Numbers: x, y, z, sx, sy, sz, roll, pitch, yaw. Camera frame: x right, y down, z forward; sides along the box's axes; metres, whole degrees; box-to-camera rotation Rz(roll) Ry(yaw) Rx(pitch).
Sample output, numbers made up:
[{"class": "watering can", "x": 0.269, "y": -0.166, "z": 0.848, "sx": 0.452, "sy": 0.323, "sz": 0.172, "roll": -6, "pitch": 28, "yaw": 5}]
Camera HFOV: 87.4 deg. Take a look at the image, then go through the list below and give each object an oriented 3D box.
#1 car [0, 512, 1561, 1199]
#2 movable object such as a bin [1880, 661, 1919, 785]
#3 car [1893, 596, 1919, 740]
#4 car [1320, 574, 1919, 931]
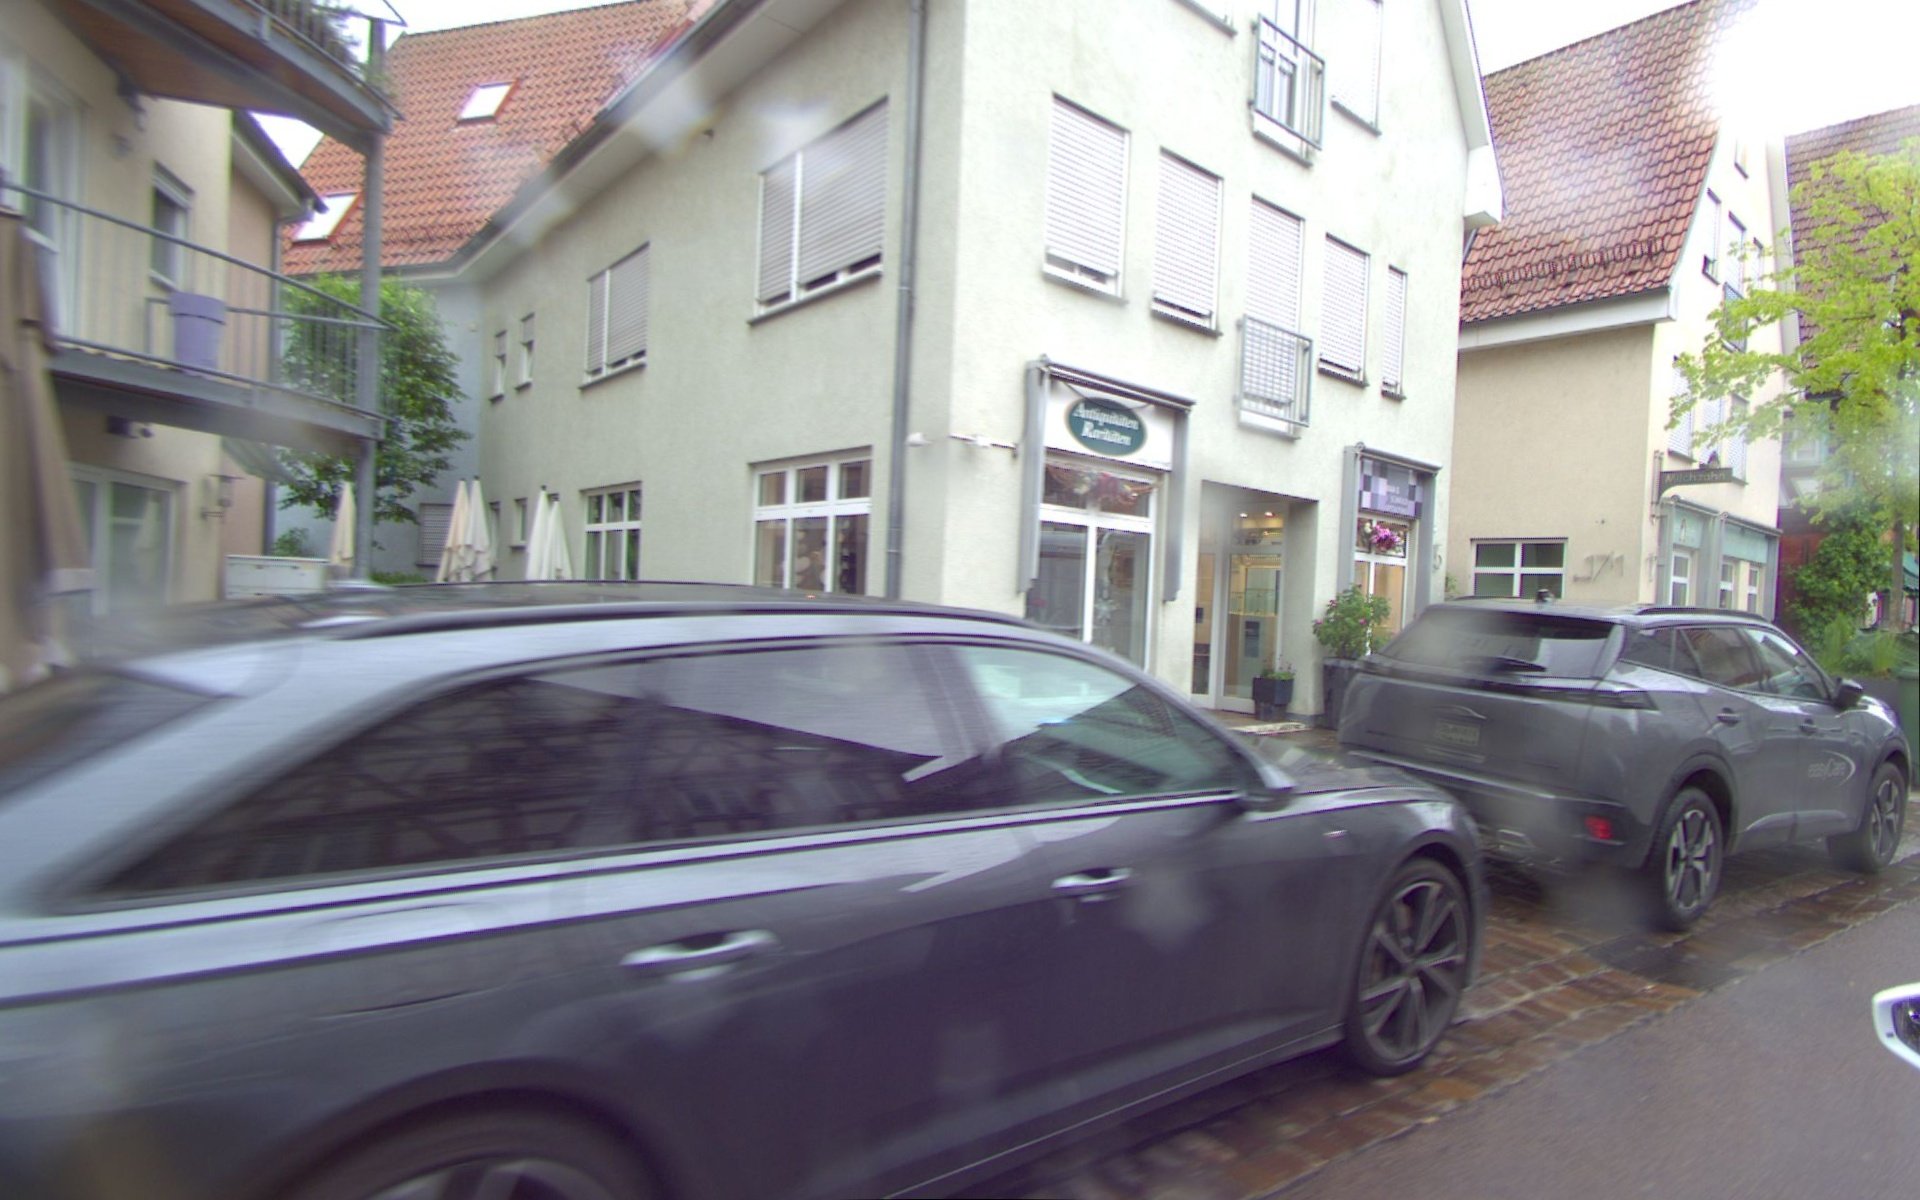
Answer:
[{"class": "car", "x": -0.149, "y": 0.685, "z": 3.021, "sx": 4.586, "sy": 1.451, "sz": 1.787, "roll": 3, "pitch": 0, "yaw": -38}, {"class": "movable object such as a bin", "x": 8.948, "y": 1.126, "z": 9.158, "sx": 0.717, "sy": 1.093, "sz": 0.617, "roll": 3, "pitch": 0, "yaw": -31}, {"class": "car", "x": 13.654, "y": 0.941, "z": 12.552, "sx": 4.430, "sy": 1.697, "sz": 1.762, "roll": 3, "pitch": 1, "yaw": -32}, {"class": "car", "x": 4.170, "y": 0.741, "z": 6.137, "sx": 3.933, "sy": 1.566, "sz": 1.584, "roll": 3, "pitch": 0, "yaw": -32}]
